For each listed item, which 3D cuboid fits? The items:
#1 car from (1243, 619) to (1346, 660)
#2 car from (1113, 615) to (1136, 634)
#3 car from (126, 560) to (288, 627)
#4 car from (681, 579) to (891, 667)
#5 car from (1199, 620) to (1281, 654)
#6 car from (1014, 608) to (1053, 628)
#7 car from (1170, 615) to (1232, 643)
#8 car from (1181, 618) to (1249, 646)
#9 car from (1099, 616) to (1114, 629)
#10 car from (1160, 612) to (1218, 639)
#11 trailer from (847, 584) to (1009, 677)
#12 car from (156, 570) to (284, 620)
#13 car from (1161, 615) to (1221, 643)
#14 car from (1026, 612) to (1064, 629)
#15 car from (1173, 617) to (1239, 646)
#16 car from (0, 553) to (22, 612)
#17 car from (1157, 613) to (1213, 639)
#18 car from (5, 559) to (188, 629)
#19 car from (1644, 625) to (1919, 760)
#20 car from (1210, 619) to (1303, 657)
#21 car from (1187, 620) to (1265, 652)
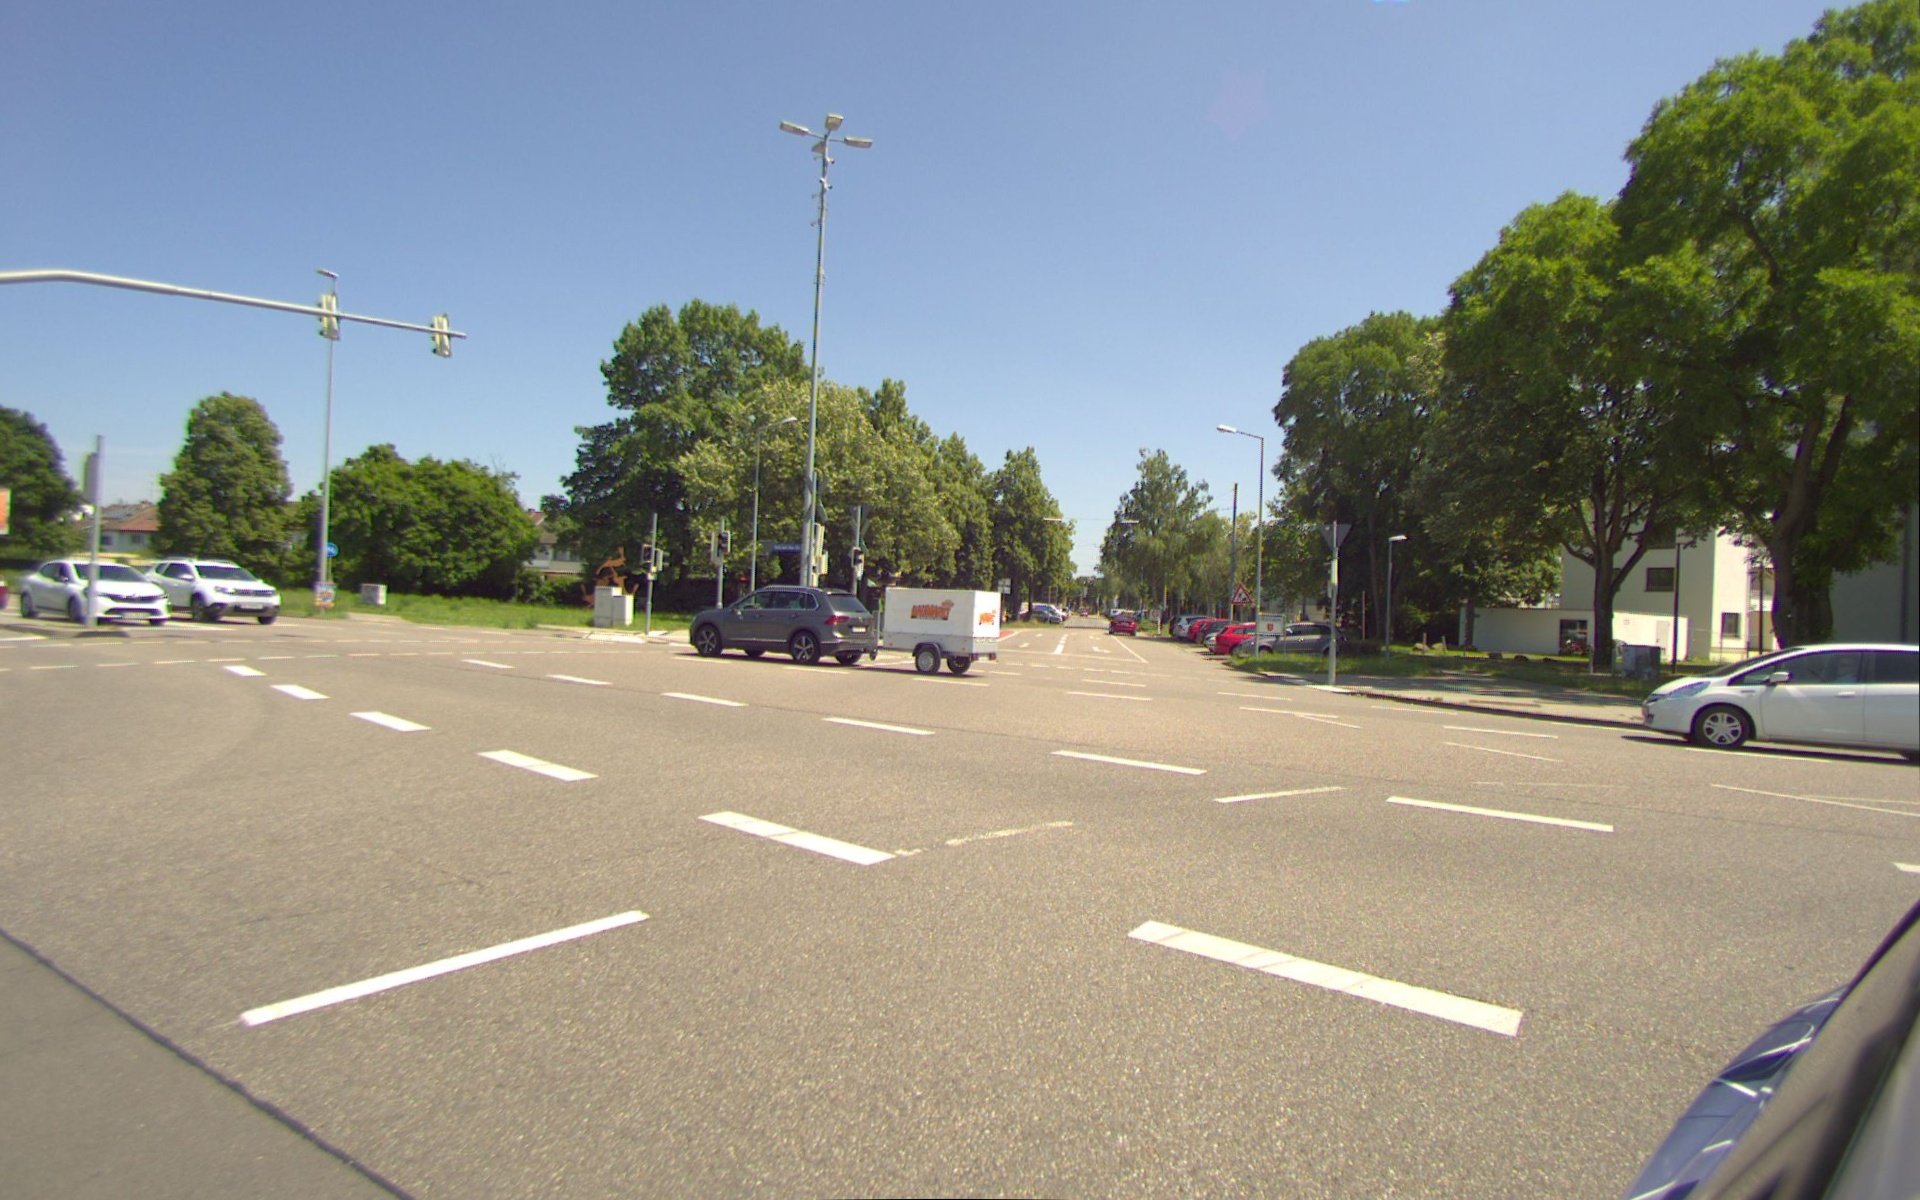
[{"bbox_3d":[12.724,1.510,38.614,3.429,1.447,1.582,1,-3,4],"label":"car"},{"bbox_3d":[11.809,1.742,72.663,1.558,1.243,3.482,1,-2,8],"label":"car"},{"bbox_3d":[-20.320,-0.177,27.288,4.375,1.596,1.855,2,-2,30],"label":"car"},{"bbox_3d":[-3.848,0.473,22.196,4.369,1.679,1.714,2,-2,29],"label":"car"},{"bbox_3d":[12.931,1.729,46.920,3.432,1.447,1.581,1,-3,7],"label":"car"},{"bbox_3d":[7.160,1.762,98.692,3.708,1.751,1.758,1,-3,7],"label":"car"},{"bbox_3d":[14.400,1.722,60.602,3.432,1.575,1.581,1,-3,7],"label":"car"},{"bbox_3d":[13.936,1.766,55.444,3.432,1.447,1.581,1,-3,7],"label":"car"},{"bbox_3d":[16.064,2.459,110.830,1.558,1.243,3.482,1,-2,8],"label":"car"},{"bbox_3d":[14.877,1.660,65.851,3.432,1.600,1.581,1,-3,7],"label":"car"},{"bbox_3d":[-0.655,0.586,20.441,2.911,1.676,1.394,2,-2,29],"label":"trailer"},{"bbox_3d":[-24.258,-0.163,33.141,4.275,1.365,1.747,3,-2,30],"label":"car"},{"bbox_3d":[14.318,1.805,62.737,3.432,1.575,1.581,1,-3,7],"label":"car"},{"bbox_3d":[7.881,1.891,93.498,3.432,1.495,1.581,1,-3,7],"label":"car"},{"bbox_3d":[14.117,1.827,58.209,3.432,1.575,1.581,1,-3,7],"label":"car"},{"bbox_3d":[-28.253,-0.566,28.180,4.375,1.596,1.855,2,-2,30],"label":"car"},{"bbox_3d":[15.085,1.759,67.961,3.432,1.600,1.581,1,-3,7],"label":"car"},{"bbox_3d":[-20.255,-0.153,23.704,4.375,1.407,1.855,2,-1,30],"label":"car"},{"bbox_3d":[11.629,1.214,13.522,3.860,1.524,1.715,3,-1,26],"label":"car"},{"bbox_3d":[12.271,1.596,42.057,3.432,1.447,1.581,1,-3,7],"label":"car"},{"bbox_3d":[12.940,1.772,49.304,3.432,1.447,1.581,1,-3,7],"label":"car"}]
